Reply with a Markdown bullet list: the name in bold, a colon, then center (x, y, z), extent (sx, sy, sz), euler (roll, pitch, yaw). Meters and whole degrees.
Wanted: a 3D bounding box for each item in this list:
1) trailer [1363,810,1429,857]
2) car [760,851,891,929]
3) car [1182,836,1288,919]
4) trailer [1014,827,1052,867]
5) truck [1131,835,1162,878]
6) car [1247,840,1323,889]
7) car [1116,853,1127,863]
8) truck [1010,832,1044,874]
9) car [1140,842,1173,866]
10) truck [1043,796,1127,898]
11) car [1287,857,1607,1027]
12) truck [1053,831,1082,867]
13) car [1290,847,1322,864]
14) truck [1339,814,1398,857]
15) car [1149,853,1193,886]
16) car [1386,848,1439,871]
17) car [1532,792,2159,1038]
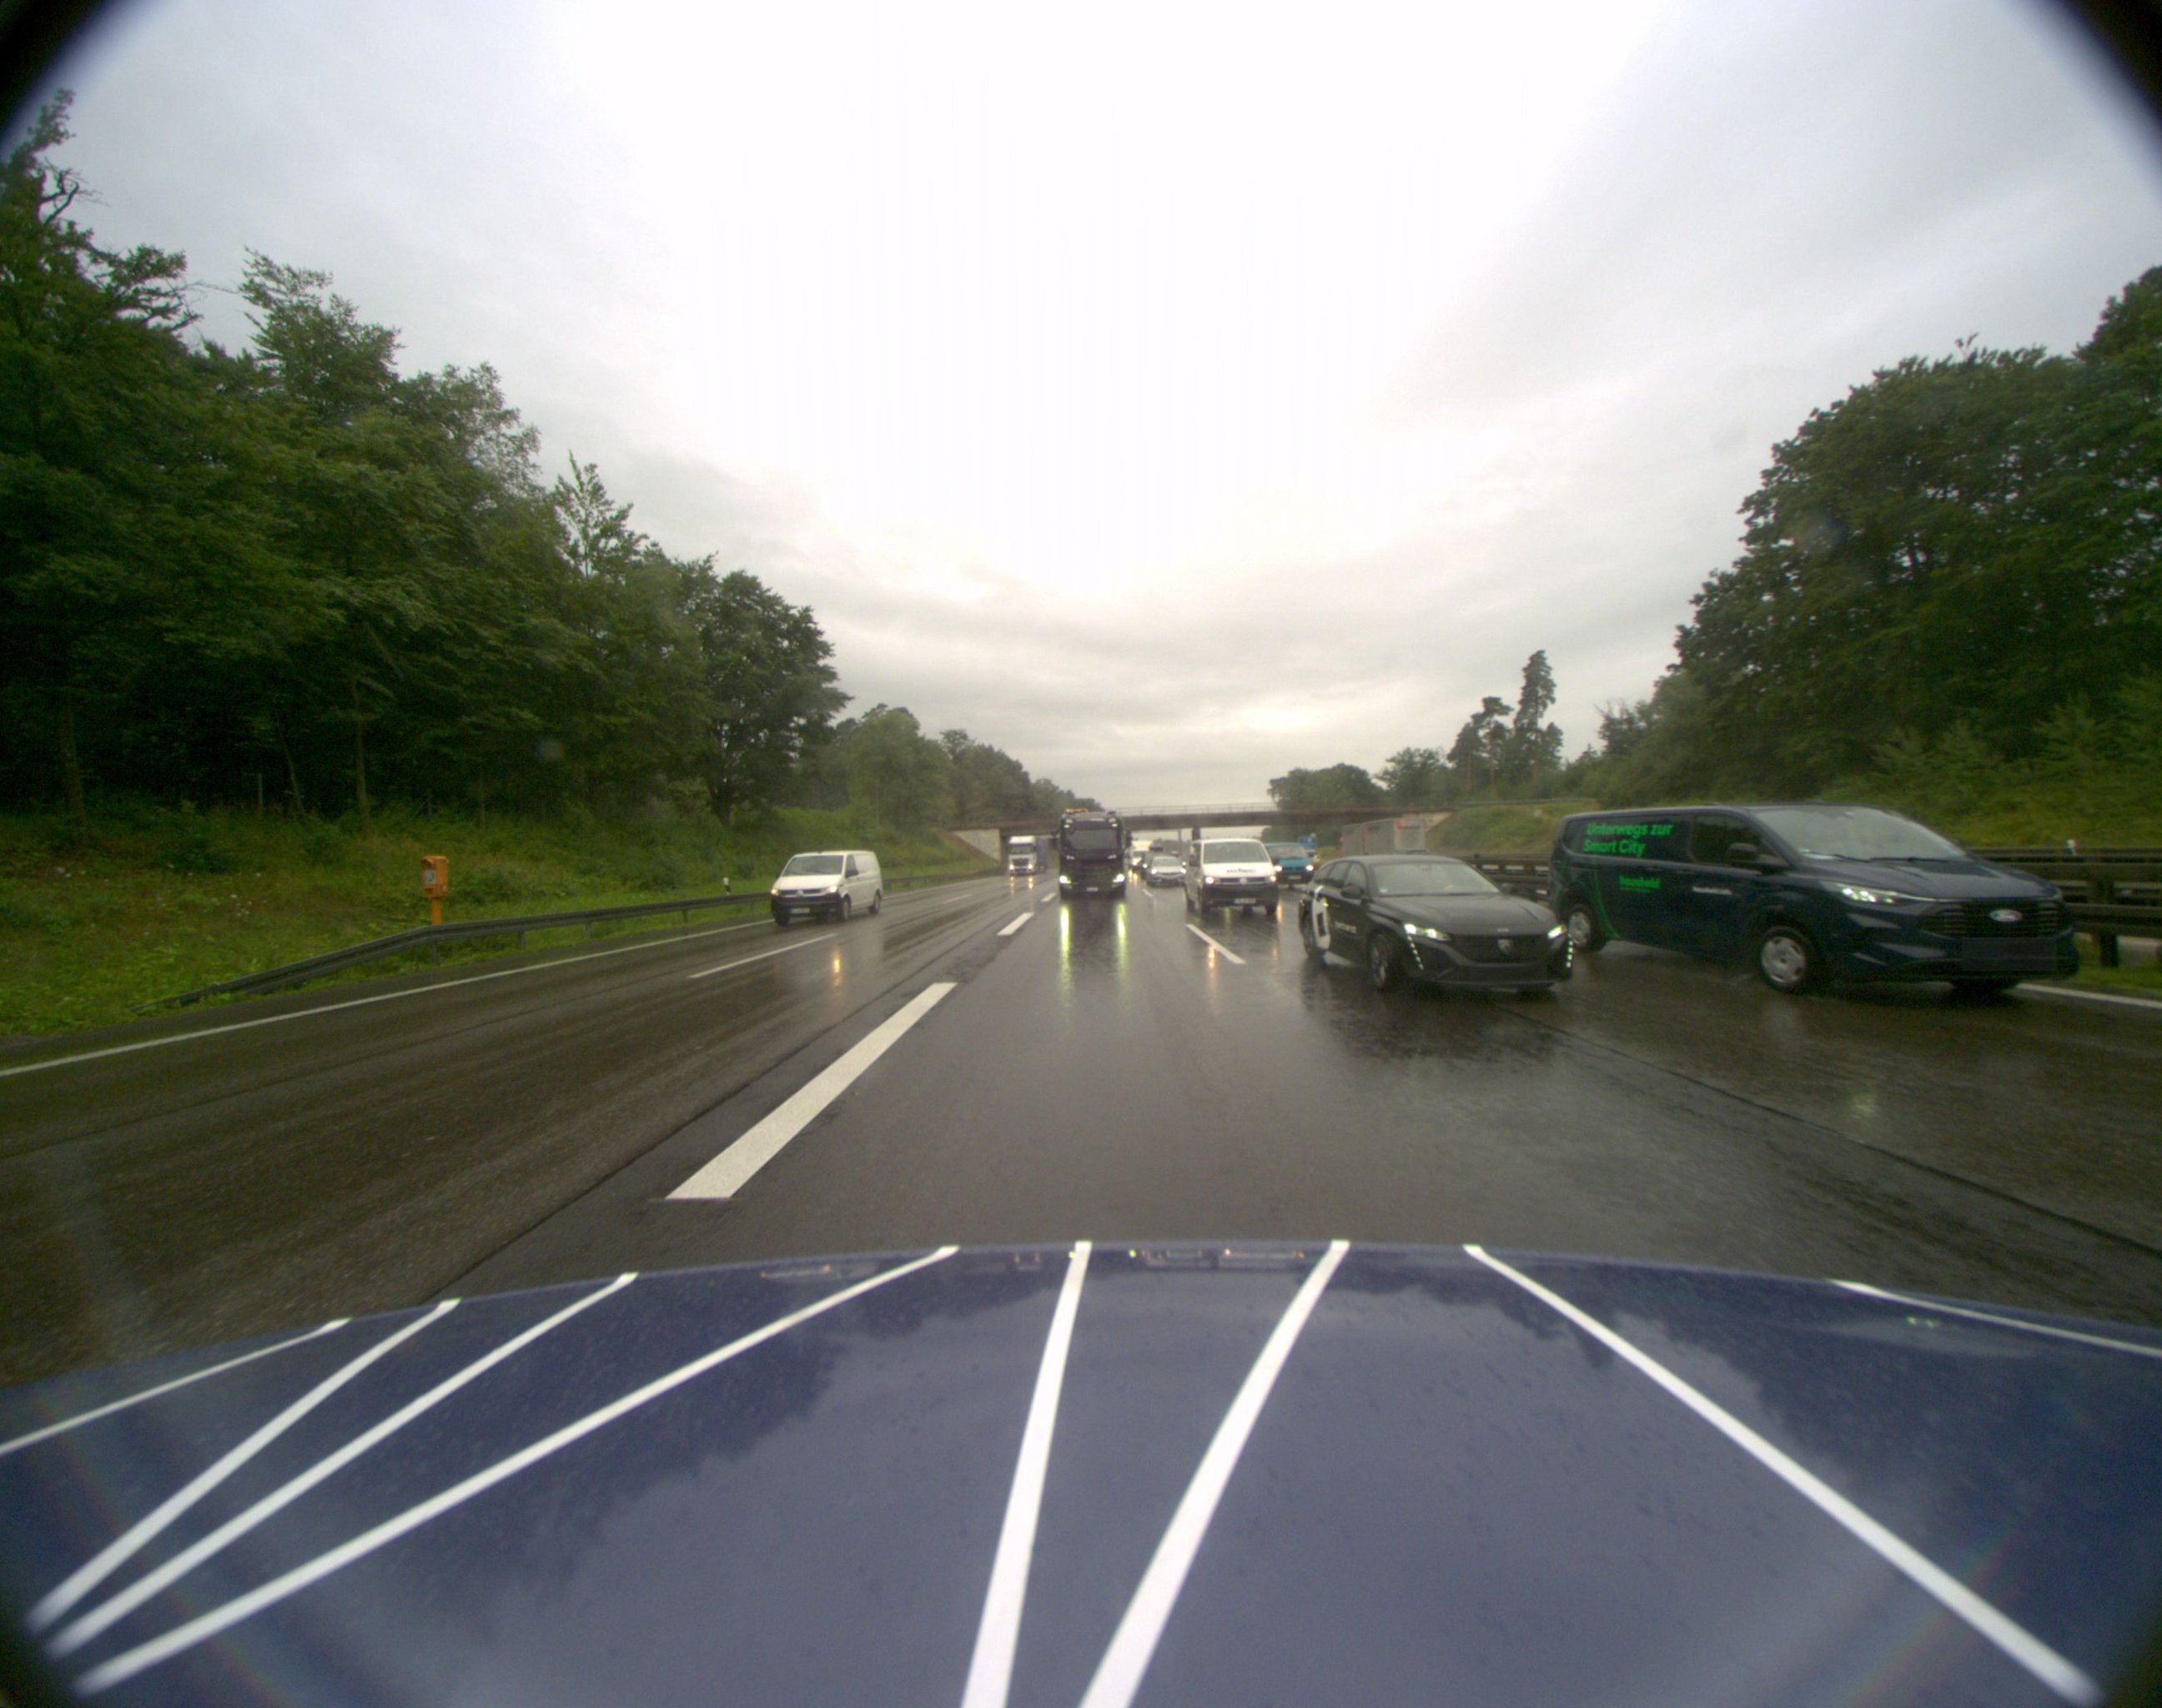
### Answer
- **trailer**: center (27.841, -1.720, 67.554), extent (2.688, 3.795, 9.009), euler (-2, 0, 5)
- **car**: center (-7.118, 0.927, 21.767), extent (1.995, 1.909, 4.767), euler (-2, 0, 1)
- **car**: center (3.907, 0.553, 20.082), extent (1.994, 1.869, 4.768), euler (-2, 0, 3)
- **trailer**: center (-5.160, -0.817, 84.661), extent (2.559, 3.990, 13.716), euler (-2, 0, 3)
- **truck**: center (6.327, 0.267, 74.226), extent (2.521, 3.941, 6.995), euler (-2, 0, 3)
- **car**: center (8.516, 0.393, 32.112), extent (1.915, 1.852, 4.759), euler (-2, 0, 1)
- **car**: center (8.140, 0.756, 153.062), extent (1.998, 2.002, 4.000), euler (-2, 0, 1)
- **truck**: center (-5.556, -0.148, 78.670), extent (2.607, 3.990, 6.013), euler (-3, 1, 3)
- **car**: center (5.205, -0.014, 53.097), extent (1.994, 1.551, 4.768), euler (-2, 0, 2)
- **truck**: center (0.450, -0.304, 32.362), extent (2.879, 3.528, 10.912), euler (-2, 1, 3)
- **car**: center (3.943, 0.814, 9.173), extent (1.850, 1.495, 4.467), euler (-2, 0, 3)
- **truck**: center (-1.511, -0.544, 87.561), extent (2.607, 3.934, 5.601), euler (-2, 1, 5)
- **car**: center (21.923, 0.137, 74.303), extent (1.840, 1.489, 4.332), euler (-2, 0, 1)
- **truck**: center (28.489, -1.778, 75.820), extent (2.710, 3.909, 10.030), euler (-2, 0, 5)
- **car**: center (4.538, 0.749, 38.803), extent (1.850, 1.496, 4.467), euler (-2, 0, 3)
- **car**: center (20.665, 0.319, 47.545), extent (1.705, 1.297, 3.756), euler (-2, 0, 1)
- **car**: center (7.763, 0.479, 8.783), extent (1.996, 1.932, 5.242), euler (-2, 0, 1)
